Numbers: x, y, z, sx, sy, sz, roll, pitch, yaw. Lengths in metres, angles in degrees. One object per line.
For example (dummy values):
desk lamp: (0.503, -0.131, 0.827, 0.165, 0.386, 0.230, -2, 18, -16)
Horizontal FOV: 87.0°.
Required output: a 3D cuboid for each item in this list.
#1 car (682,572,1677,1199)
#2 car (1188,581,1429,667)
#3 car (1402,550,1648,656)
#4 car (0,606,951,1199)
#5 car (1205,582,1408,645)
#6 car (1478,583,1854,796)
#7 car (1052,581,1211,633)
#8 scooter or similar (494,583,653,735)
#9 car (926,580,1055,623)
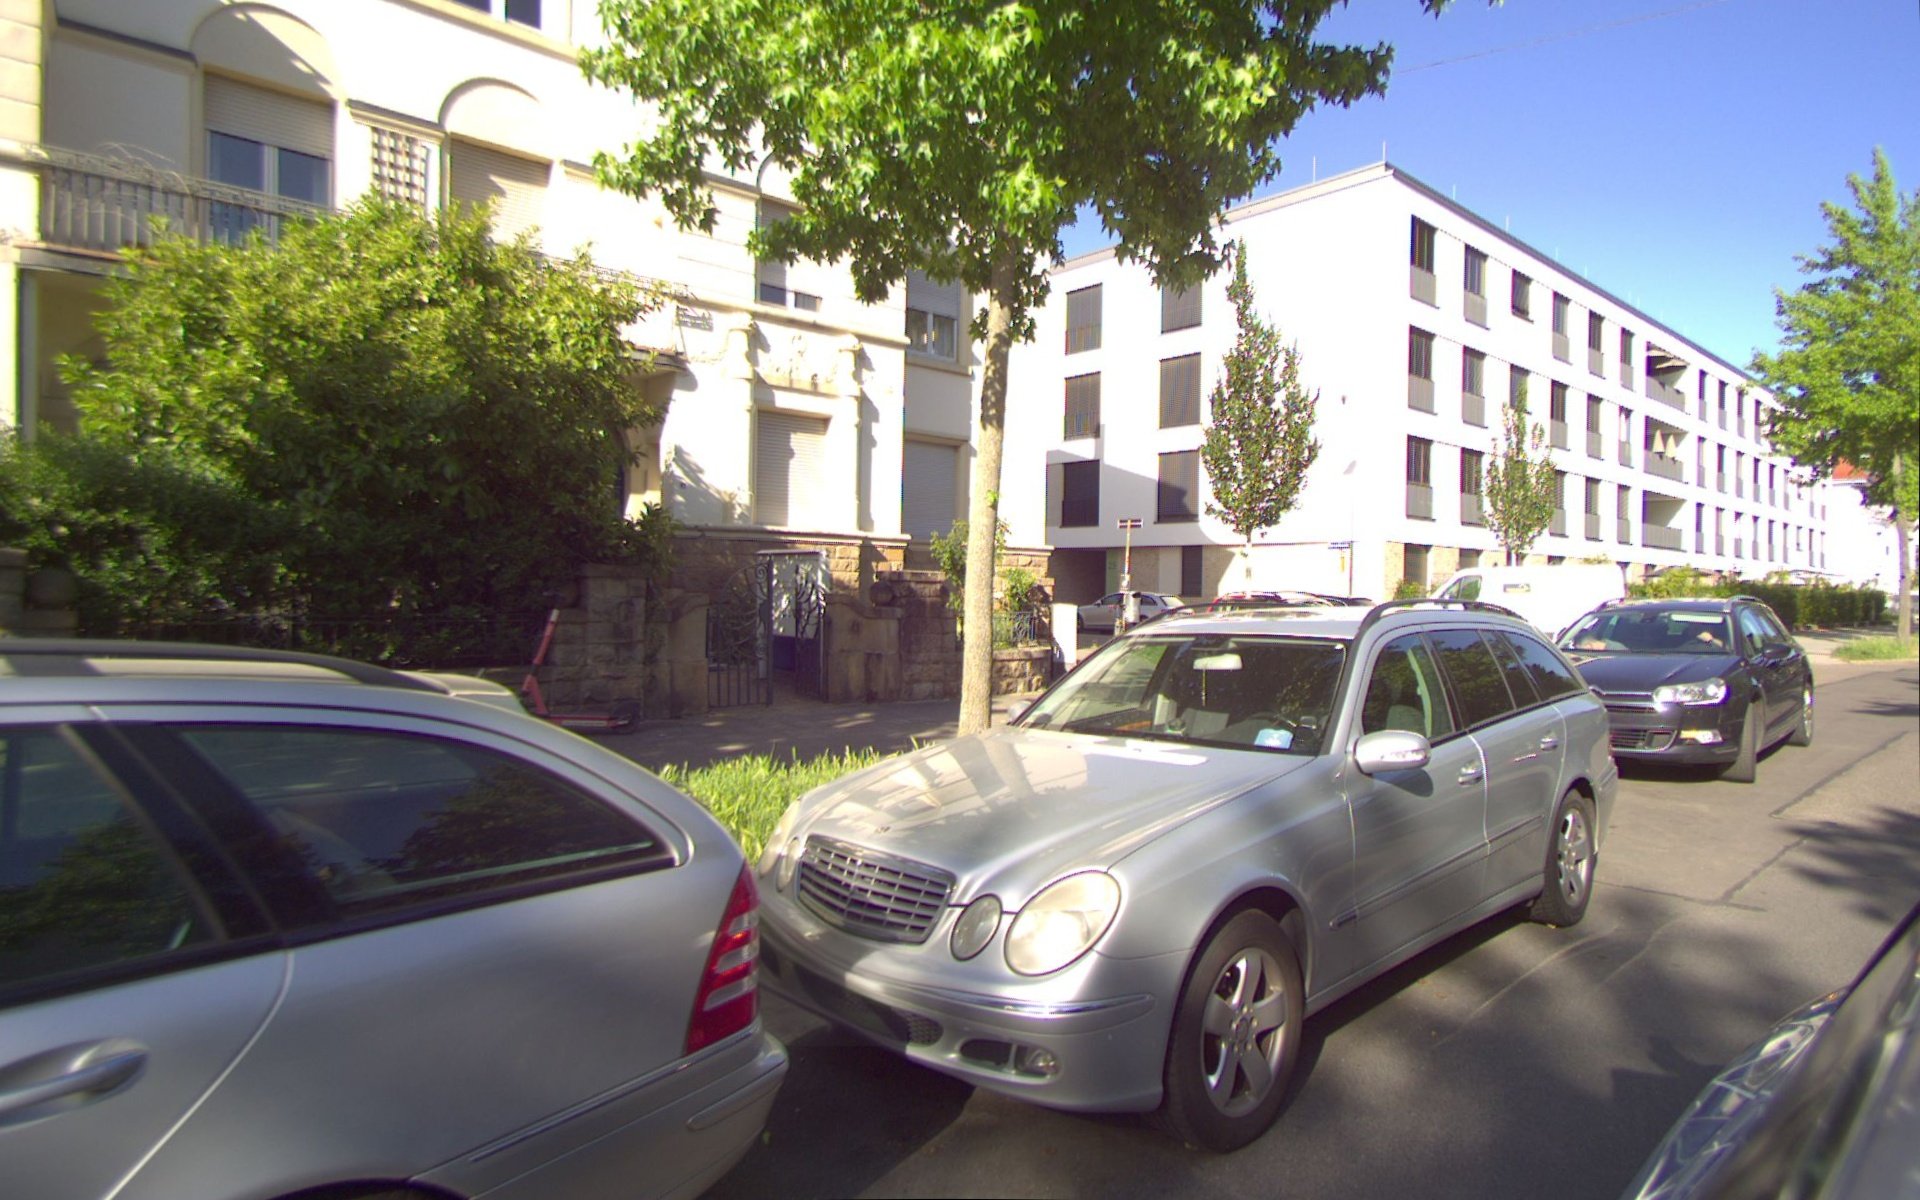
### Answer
car: (1.417, 0.683, 4.478, 4.824, 1.488, 1.824, 0, 0, -42)
car: (6.958, 0.397, 20.827, 1.913, 1.488, 4.743, 0, 2, -25)
car: (13.630, -0.012, 24.796, 5.009, 2.334, 2.214, 2, 1, 27)
car: (-2.363, 0.737, 1.360, 4.777, 1.428, 1.713, 0, 0, -42)
car: (9.447, 0.309, 27.938, 2.012, 1.488, 4.936, 1, 1, -41)
car: (6.976, 0.619, 9.759, 4.882, 1.543, 1.898, -1, 1, -42)
car: (5.421, 0.196, 32.507, 1.926, 1.447, 4.938, 2, 0, -40)
scooter or similar: (-3.217, 0.477, 8.438, 1.180, 1.200, 0.403, 1, 1, -25)
car: (1.056, 0.015, 37.502, 1.932, 1.488, 4.934, 0, 0, -42)
